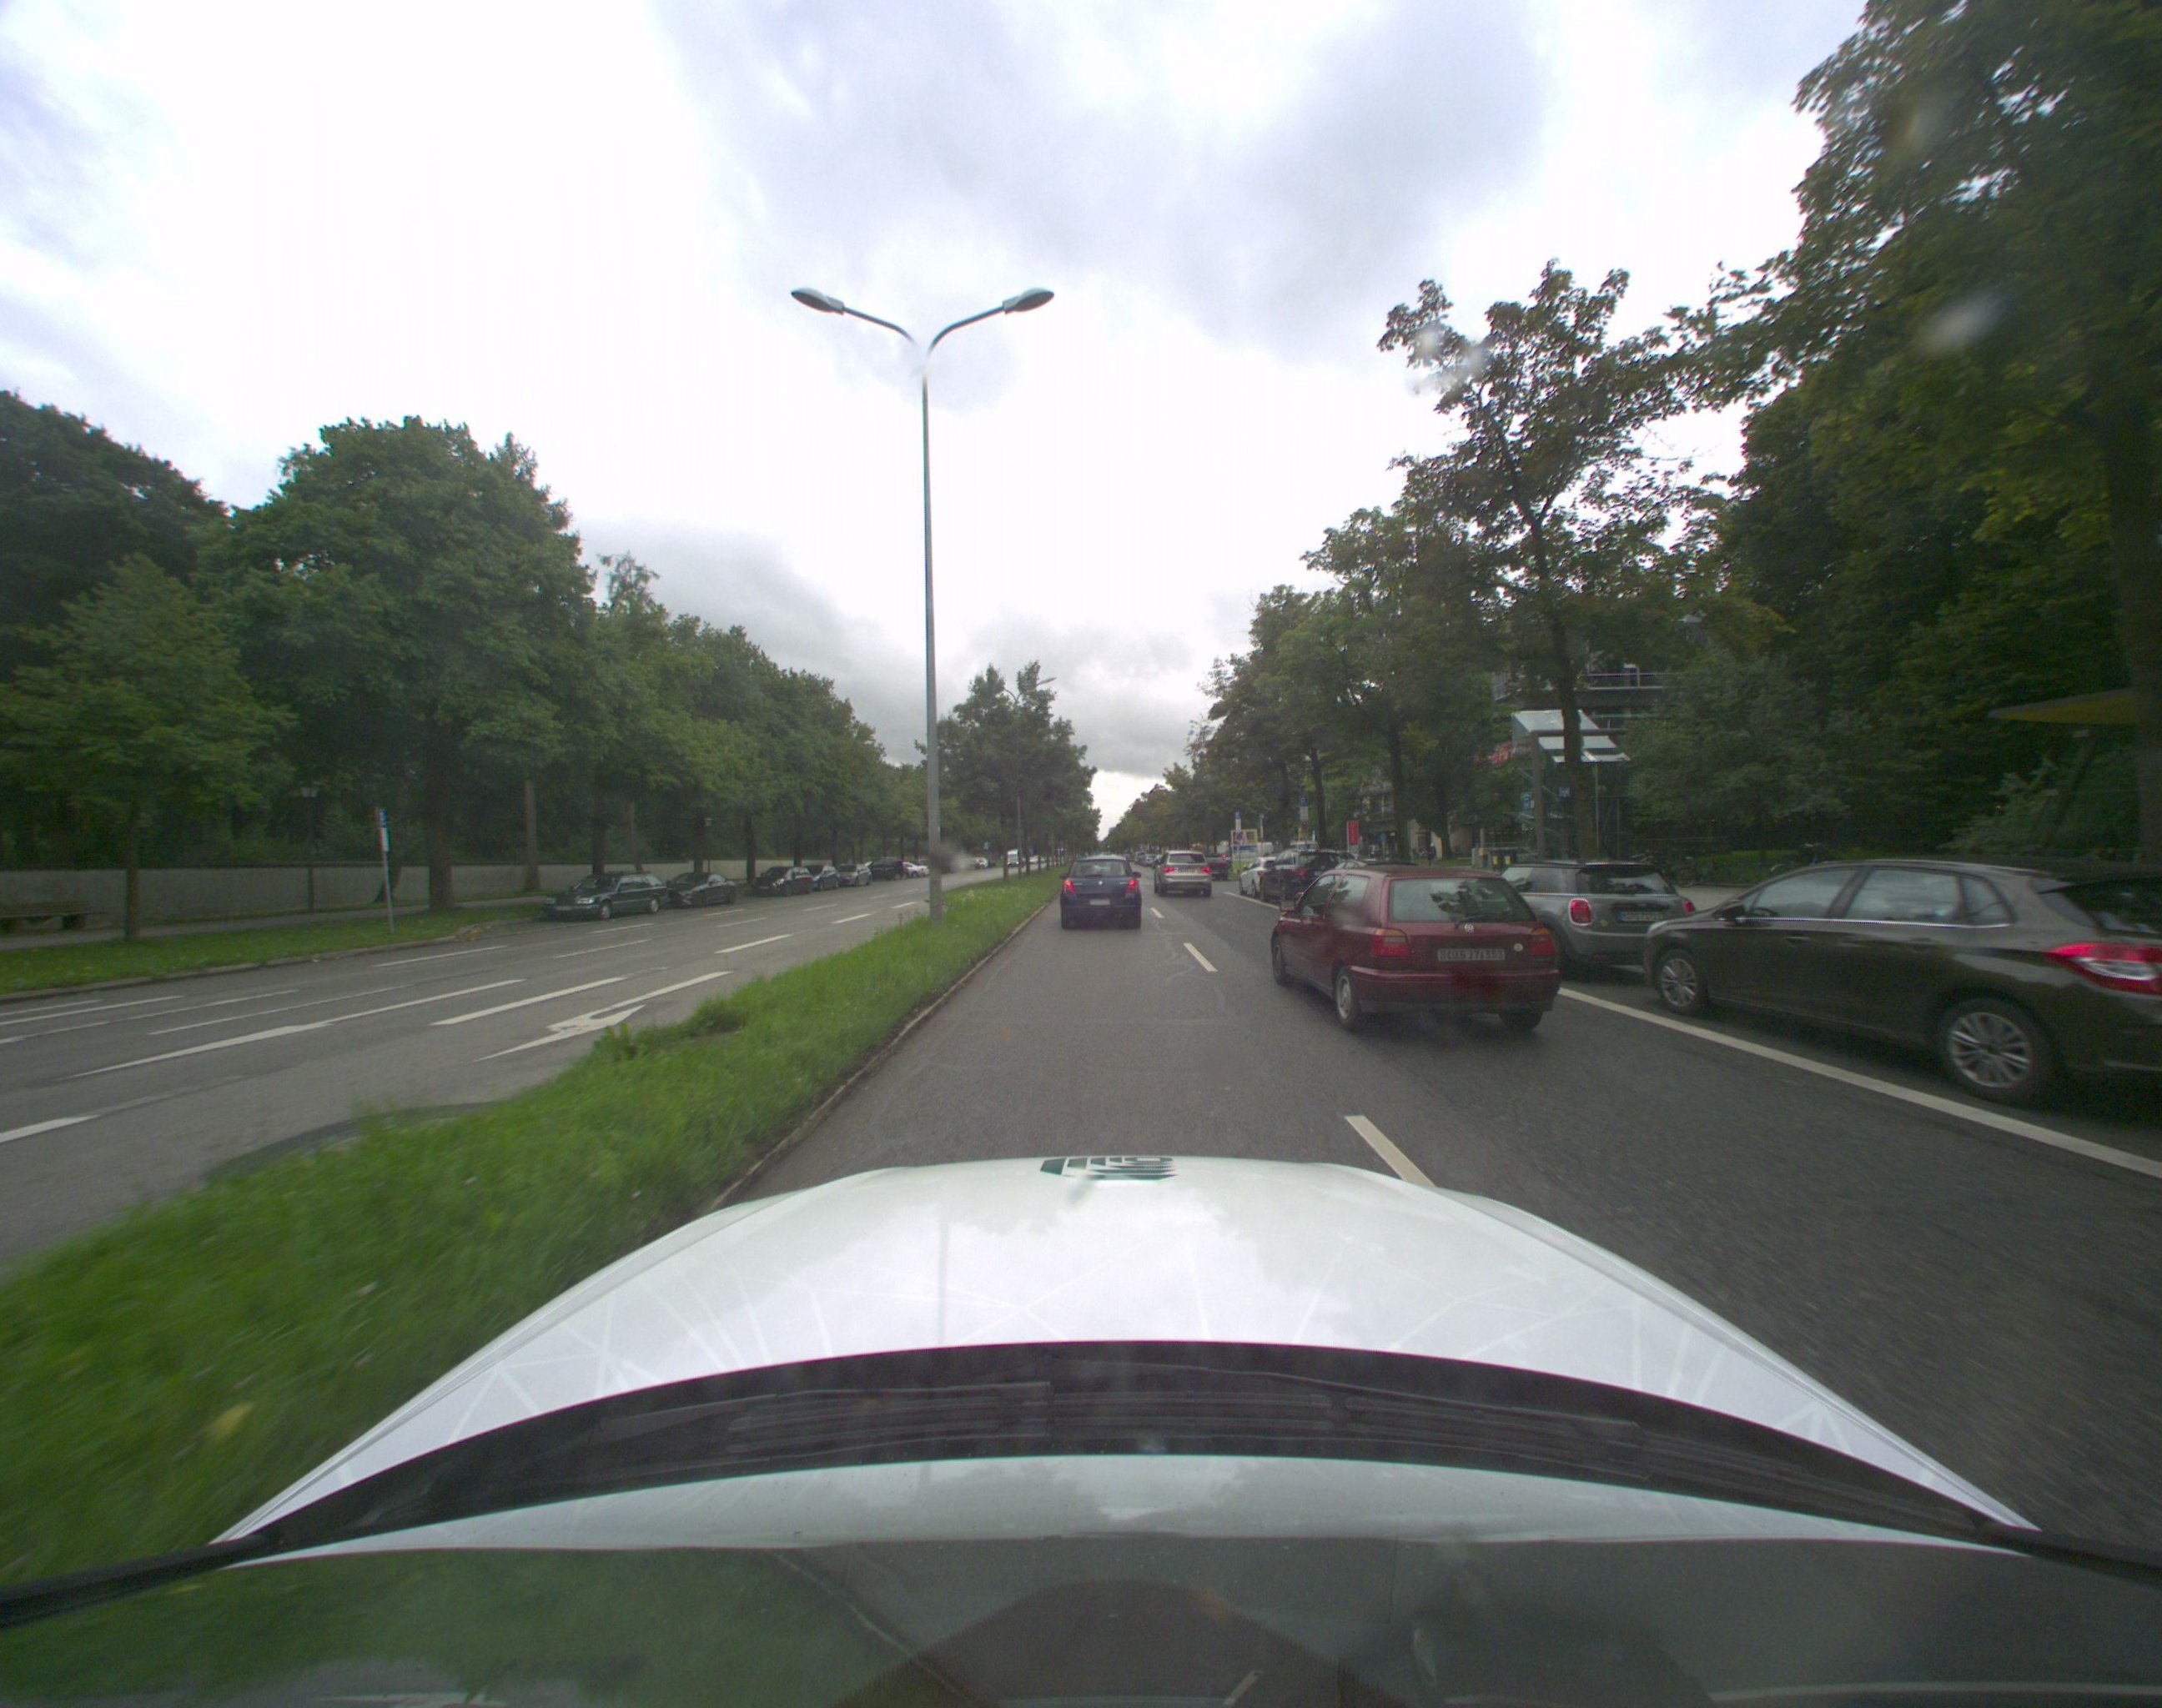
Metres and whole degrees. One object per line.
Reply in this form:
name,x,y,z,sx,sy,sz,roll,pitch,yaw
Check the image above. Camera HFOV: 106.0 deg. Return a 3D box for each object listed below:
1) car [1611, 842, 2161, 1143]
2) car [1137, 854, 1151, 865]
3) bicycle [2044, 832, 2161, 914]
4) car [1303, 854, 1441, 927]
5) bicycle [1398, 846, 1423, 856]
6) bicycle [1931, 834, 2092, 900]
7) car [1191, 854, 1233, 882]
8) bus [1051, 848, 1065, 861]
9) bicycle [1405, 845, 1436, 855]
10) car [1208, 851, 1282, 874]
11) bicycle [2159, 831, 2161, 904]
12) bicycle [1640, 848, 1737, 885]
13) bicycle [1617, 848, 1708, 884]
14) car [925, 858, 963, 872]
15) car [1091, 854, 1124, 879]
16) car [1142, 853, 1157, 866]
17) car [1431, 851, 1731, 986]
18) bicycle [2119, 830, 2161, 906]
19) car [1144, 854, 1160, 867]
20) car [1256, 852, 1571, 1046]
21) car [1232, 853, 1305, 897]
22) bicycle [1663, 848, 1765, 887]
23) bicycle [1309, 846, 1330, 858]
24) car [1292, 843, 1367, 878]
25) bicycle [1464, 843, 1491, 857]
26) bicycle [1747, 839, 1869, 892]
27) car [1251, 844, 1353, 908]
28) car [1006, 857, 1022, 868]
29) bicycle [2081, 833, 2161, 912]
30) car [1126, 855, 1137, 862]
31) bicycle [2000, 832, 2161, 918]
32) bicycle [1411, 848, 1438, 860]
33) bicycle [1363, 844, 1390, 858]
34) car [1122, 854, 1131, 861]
car,6.257,0.696,6.241,1.711,1.508,4.225,-1,0,1
car,9.369,0.779,121.555,1.679,1.553,4.304,-1,0,-1
bicycle,17.139,0.285,12.960,0.643,1.280,2.551,-1,0,2
car,6.471,0.735,18.598,1.627,1.439,4.305,-1,0,0
bicycle,31.080,-0.292,76.824,2.034,0.958,0.746,-1,0,0
bicycle,19.132,0.271,16.771,2.533,1.280,0.647,-1,0,1
car,7.749,0.796,48.510,1.756,1.589,4.452,-1,0,0
bus,-5.990,0.151,214.625,2.728,3.377,12.019,-3,0,2
bicycle,30.089,-0.347,72.139,0.776,0.870,2.373,-1,0,-45
car,11.394,0.585,56.611,4.779,1.454,1.699,-1,0,24
bicycle,19.146,0.226,12.951,0.643,1.280,2.551,-1,0,2
bicycle,19.080,0.394,25.610,2.533,1.089,0.647,-1,0,1
bicycle,19.137,0.392,26.829,2.533,1.089,0.647,-1,0,1
car,-16.596,1.337,98.524,4.119,1.501,1.901,-1,0,-29
car,1.593,0.734,50.073,1.844,1.447,4.097,-1,0,0
car,8.921,0.701,106.058,1.677,1.626,4.308,0,0,2
car,6.404,0.718,11.048,1.628,1.453,4.079,-1,0,1
bicycle,18.481,0.234,12.979,0.643,1.280,2.551,-1,0,2
car,8.720,0.759,100.352,1.677,1.525,4.458,0,0,2
car,2.979,0.732,8.240,1.616,1.454,3.950,-1,0,1
car,6.720,0.710,29.620,1.648,1.434,4.483,-1,0,1
bicycle,19.056,0.395,24.540,2.533,1.089,0.647,-1,0,1
bicycle,31.507,-0.211,107.590,2.605,1.508,0.797,-1,0,-5
car,12.566,0.298,40.966,1.948,1.625,4.877,-1,0,39
bicycle,35.556,-0.339,73.032,2.131,1.204,0.586,-1,0,-1
bicycle,18.686,0.294,20.960,2.533,1.280,0.647,-1,0,1
car,6.353,0.594,23.946,1.780,1.675,4.596,-1,0,1
car,-9.379,1.161,114.706,1.907,1.542,4.187,-1,0,0
bicycle,17.813,0.285,12.974,0.643,1.280,2.551,-1,0,2
car,10.308,0.874,166.295,1.844,1.447,4.097,-1,0,0
bicycle,16.423,0.301,12.996,0.643,1.280,2.551,-1,0,2
bicycle,29.809,-0.012,70.758,0.751,0.958,2.022,-1,0,-45
bicycle,31.158,-0.316,85.920,2.612,1.508,0.795,-1,0,-13
car,10.100,0.852,180.150,1.844,1.447,4.097,-1,0,0
